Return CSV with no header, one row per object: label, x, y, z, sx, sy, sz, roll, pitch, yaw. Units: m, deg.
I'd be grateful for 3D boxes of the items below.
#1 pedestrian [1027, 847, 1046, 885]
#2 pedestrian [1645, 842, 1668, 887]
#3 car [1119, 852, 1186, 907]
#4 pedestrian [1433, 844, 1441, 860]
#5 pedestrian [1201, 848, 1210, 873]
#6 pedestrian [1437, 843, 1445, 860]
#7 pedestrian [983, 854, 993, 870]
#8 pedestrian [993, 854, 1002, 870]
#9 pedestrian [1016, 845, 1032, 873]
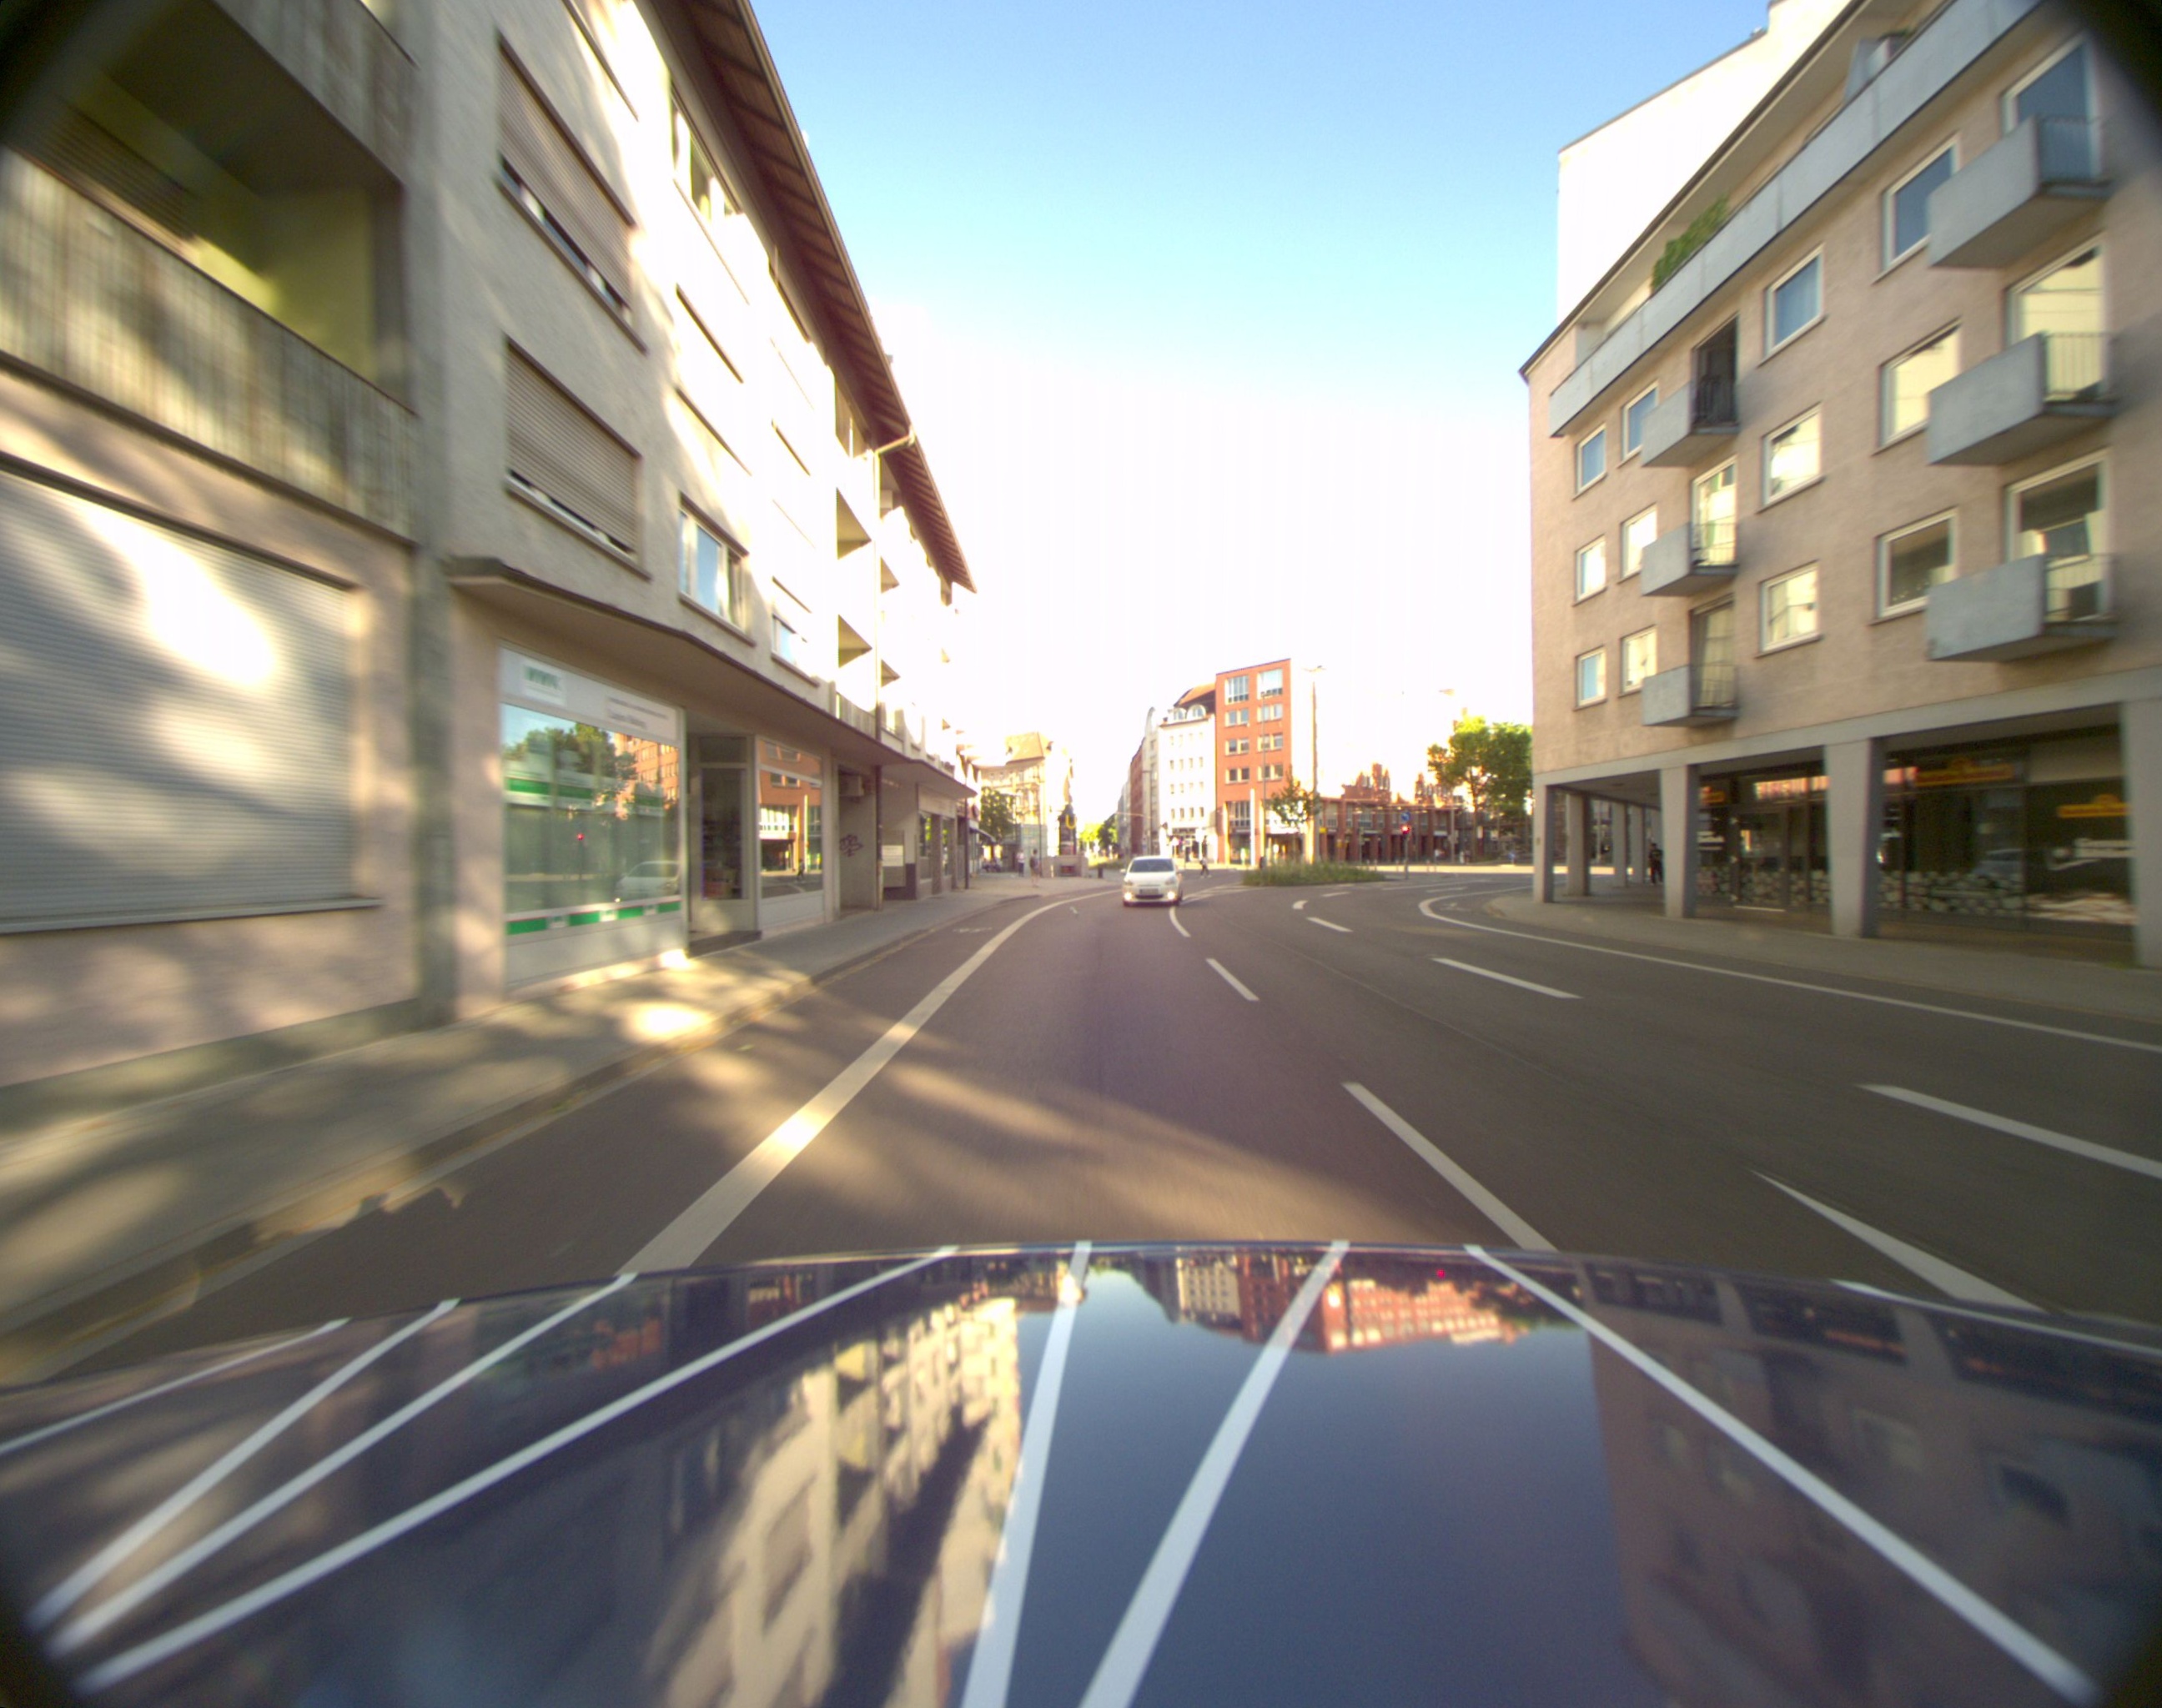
pedestrian,-2.195,0.595,37.275,0.706,1.809,0.708,2,2,12
pedestrian,23.322,0.422,30.796,0.531,1.762,0.610,-4,2,-43
car,2.287,0.720,23.411,1.682,1.490,3.687,-1,1,11
pedestrian,38.724,-0.245,82.605,0.553,1.737,0.716,-1,2,44
pedestrian,8.777,0.448,53.496,0.593,1.737,0.502,-2,2,9
pedestrian,39.361,-0.274,83.069,0.553,1.737,0.716,-1,2,44
pedestrian,-7.533,0.622,61.633,0.708,1.235,0.765,2,1,-9
pedestrian,-6.790,0.638,61.770,0.707,1.225,0.770,2,1,-8
pedestrian,-3.695,0.331,49.054,0.709,1.809,0.705,1,2,-42
